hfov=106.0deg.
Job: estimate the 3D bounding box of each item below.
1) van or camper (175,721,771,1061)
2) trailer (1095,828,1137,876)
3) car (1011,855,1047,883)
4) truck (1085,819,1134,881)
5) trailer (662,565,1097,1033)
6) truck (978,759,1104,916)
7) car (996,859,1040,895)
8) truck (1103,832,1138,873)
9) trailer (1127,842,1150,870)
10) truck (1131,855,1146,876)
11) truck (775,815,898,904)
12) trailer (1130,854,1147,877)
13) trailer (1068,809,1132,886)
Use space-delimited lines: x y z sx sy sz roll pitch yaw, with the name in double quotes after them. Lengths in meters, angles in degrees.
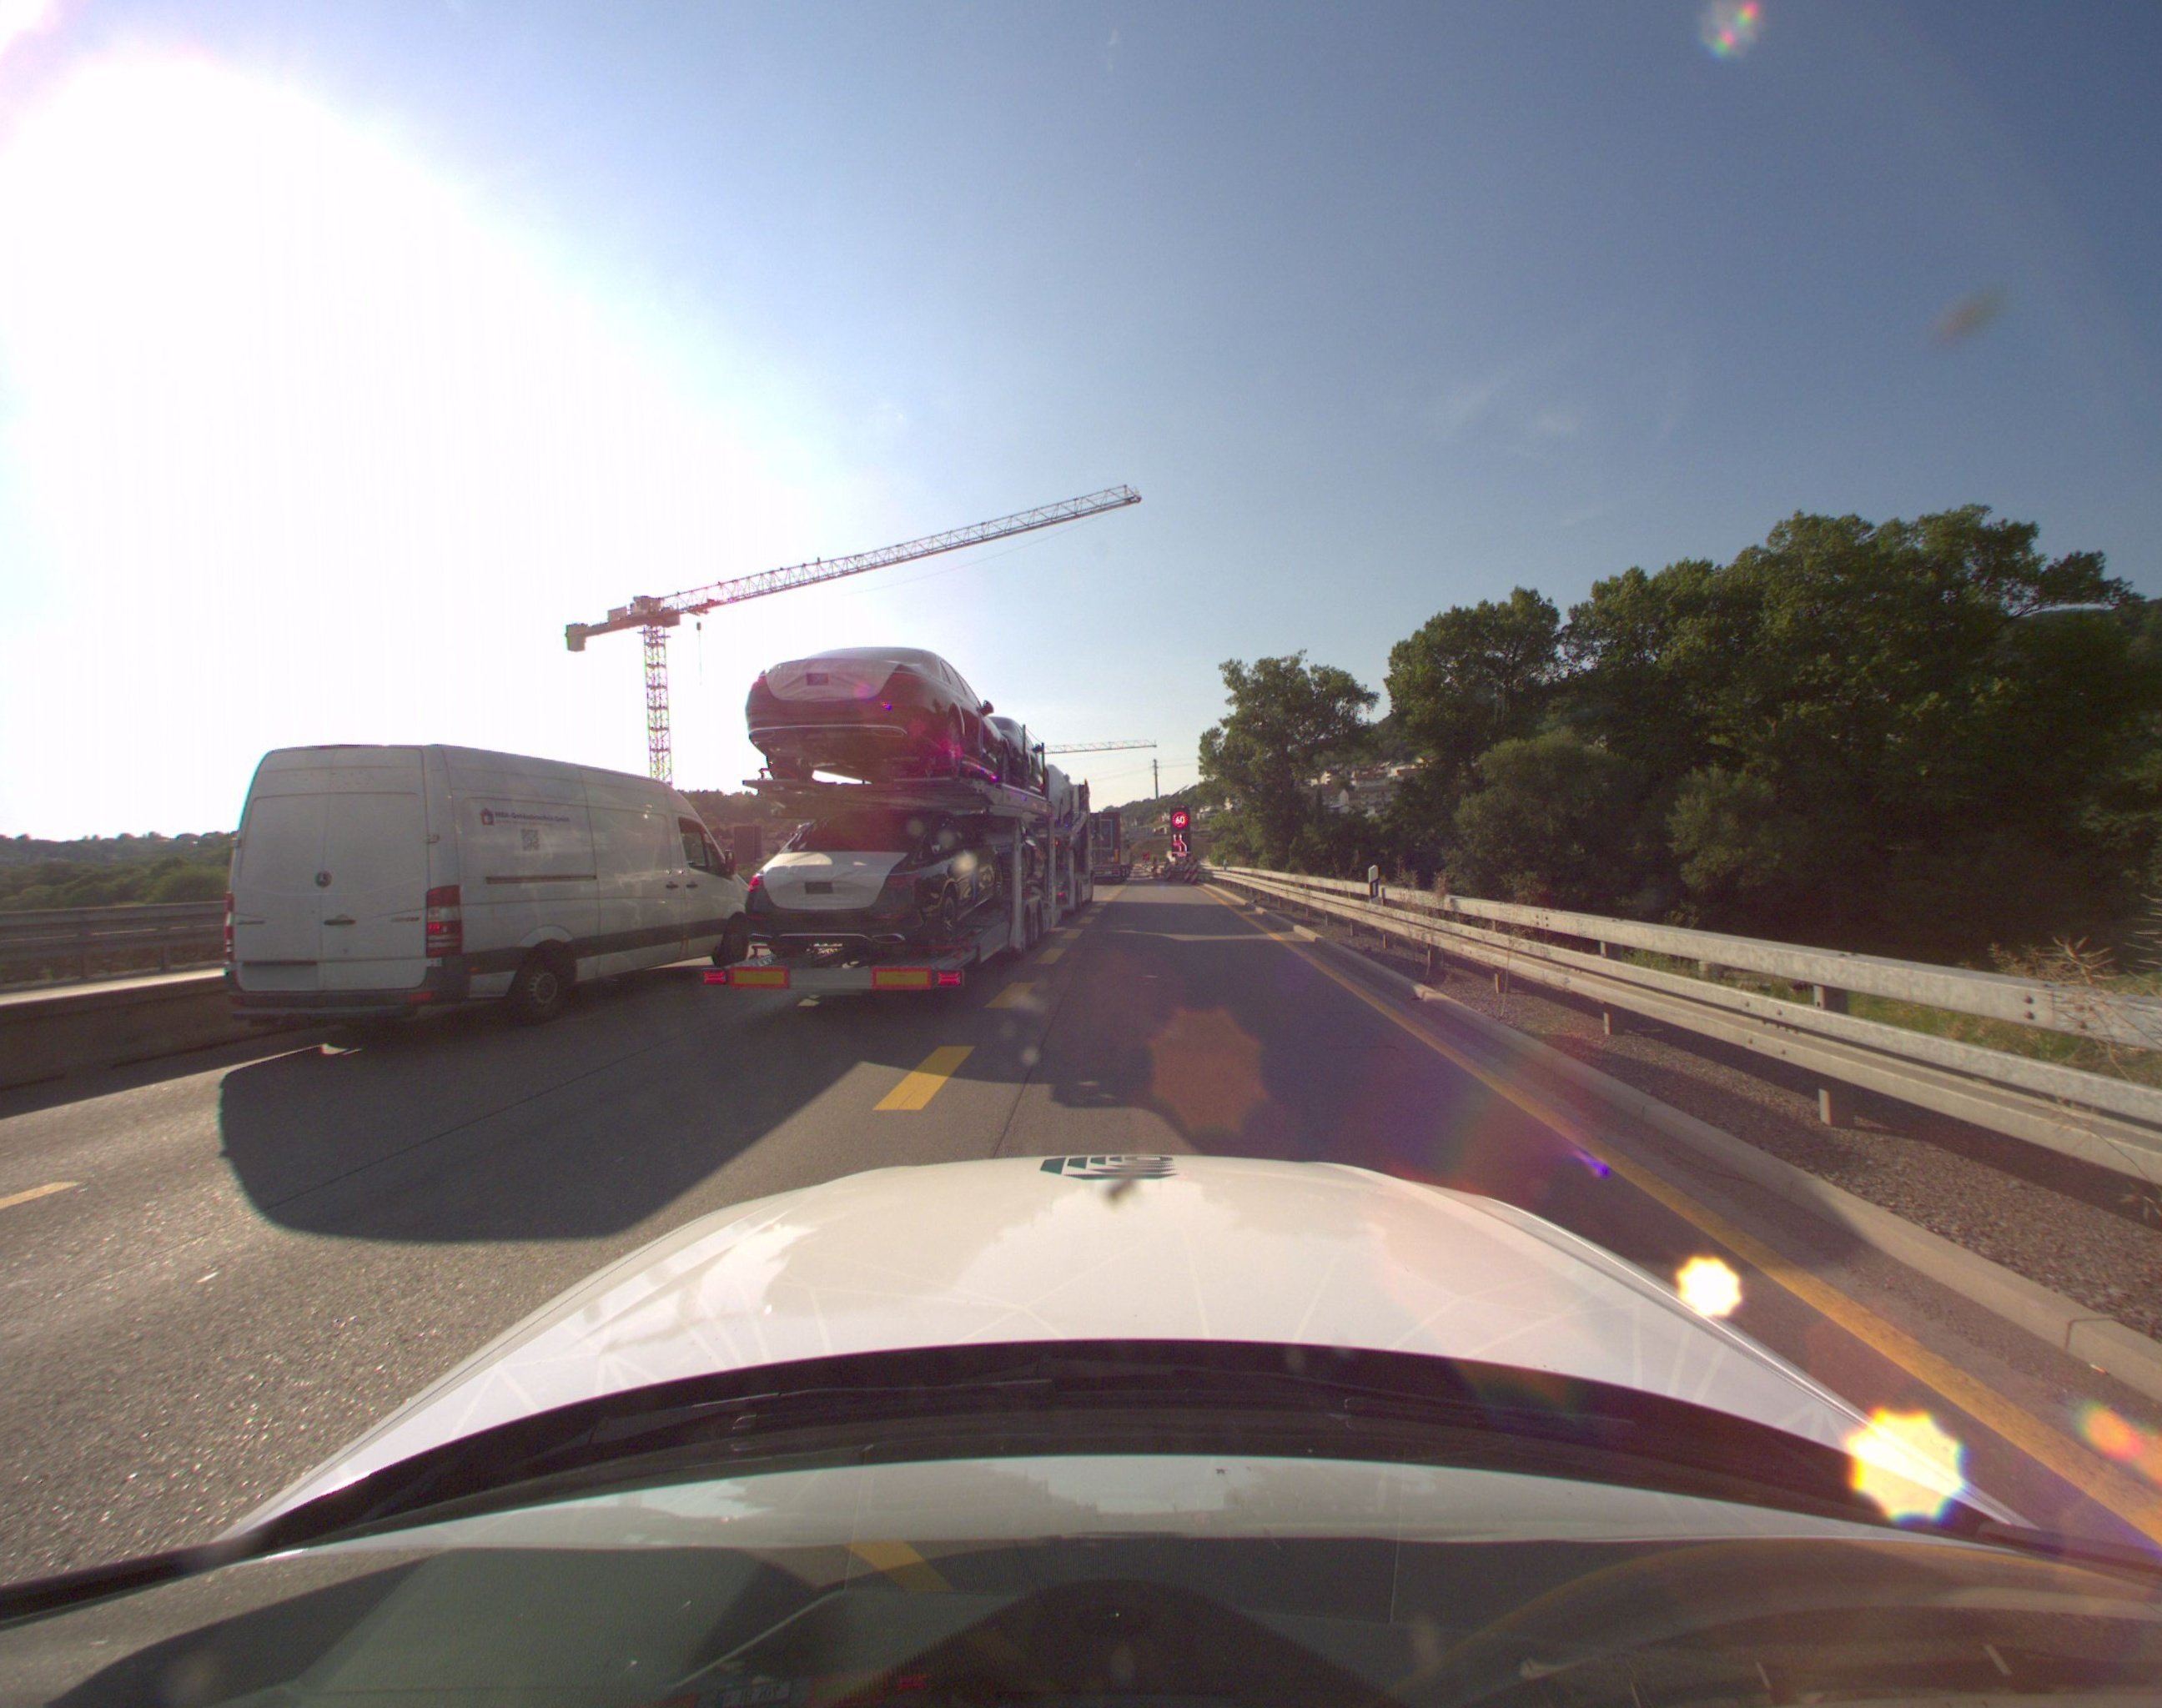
-5.938 0.305 9.357 1.984 2.620 5.912 -2 0 5 "van or camper"
3.515 -0.136 78.346 3.369 3.996 14.762 -2 0 4 "trailer"
-3.341 0.928 53.050 1.823 1.654 4.002 -4 0 2 "car"
2.100 -0.251 57.423 2.871 3.996 6.634 -2 0 5 "truck"
-1.644 -0.443 15.020 2.844 3.996 15.764 -2 0 4 "trailer"
-0.965 -0.416 24.524 2.835 3.996 6.632 -2 0 4 "truck"
-3.371 1.218 44.287 1.823 1.752 4.002 -4 0 2 "car"
4.254 -0.117 86.075 3.328 3.996 6.632 -2 0 4 "truck"
9.092 0.266 128.371 3.369 3.996 14.762 -2 0 4 "trailer"
12.371 2.364 174.365 3.084 4.285 6.632 -2 0 4 "truck"
-10.283 0.209 35.006 2.882 3.396 5.961 -2 0 6 "truck"
11.780 2.335 166.601 3.089 4.314 14.268 -2 0 4 "trailer"
1.381 -0.352 50.395 2.944 4.091 10.809 -3 0 5 "trailer"
